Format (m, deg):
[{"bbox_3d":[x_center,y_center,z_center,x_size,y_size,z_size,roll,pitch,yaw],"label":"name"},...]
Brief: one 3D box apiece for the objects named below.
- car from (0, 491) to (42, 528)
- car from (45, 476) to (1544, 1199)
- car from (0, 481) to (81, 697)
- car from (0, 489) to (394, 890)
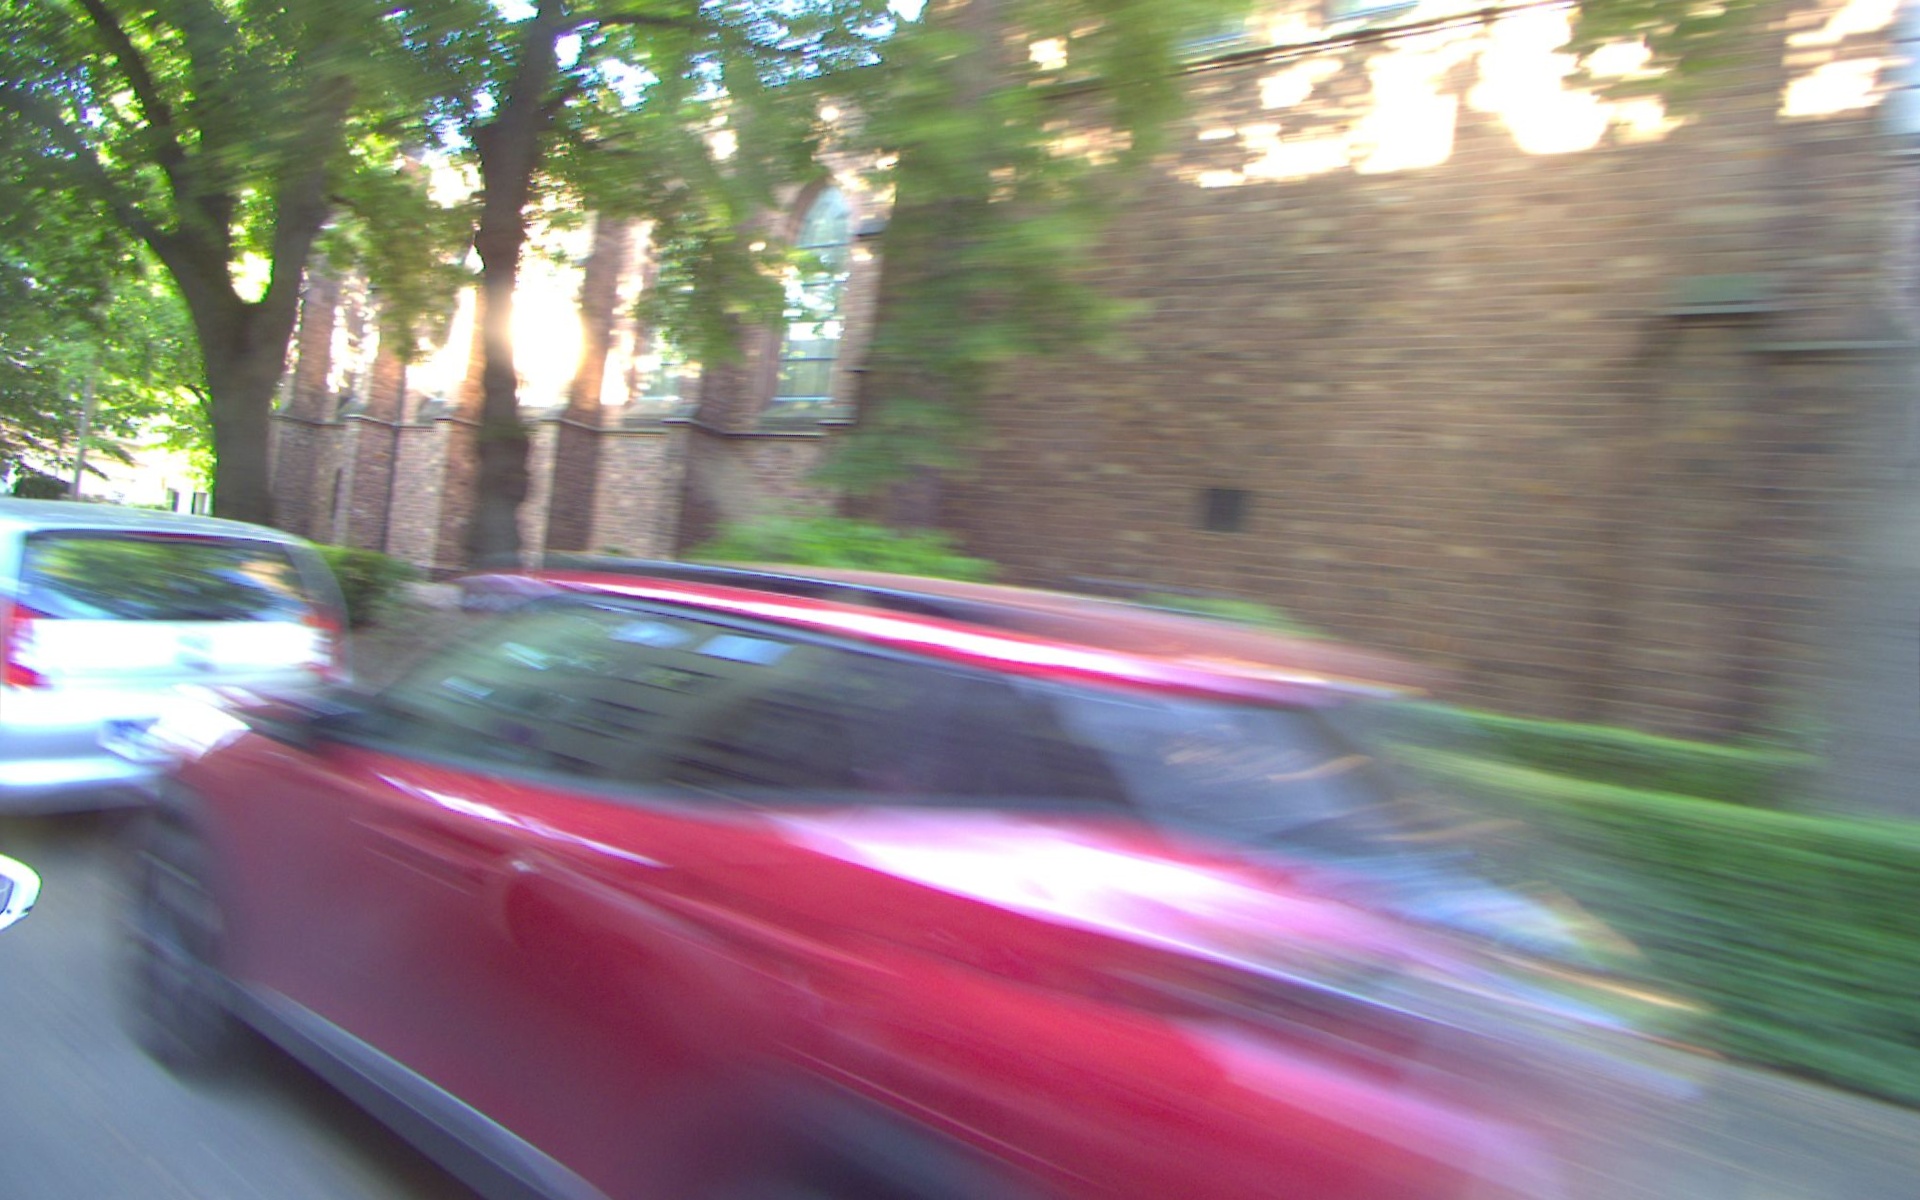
[{"bbox_3d":[-46.066,-4.463,47.378,1.610,1.489,3.855,4,-4,38],"label":"car"},{"bbox_3d":[-0.817,0.591,2.821,4.034,1.608,1.662,6,4,34],"label":"car"},{"bbox_3d":[-8.426,-0.257,7.613,3.806,1.489,1.600,6,1,32],"label":"car"},{"bbox_3d":[-4.852,0.204,5.390,3.659,1.526,1.598,6,4,32],"label":"car"}]
